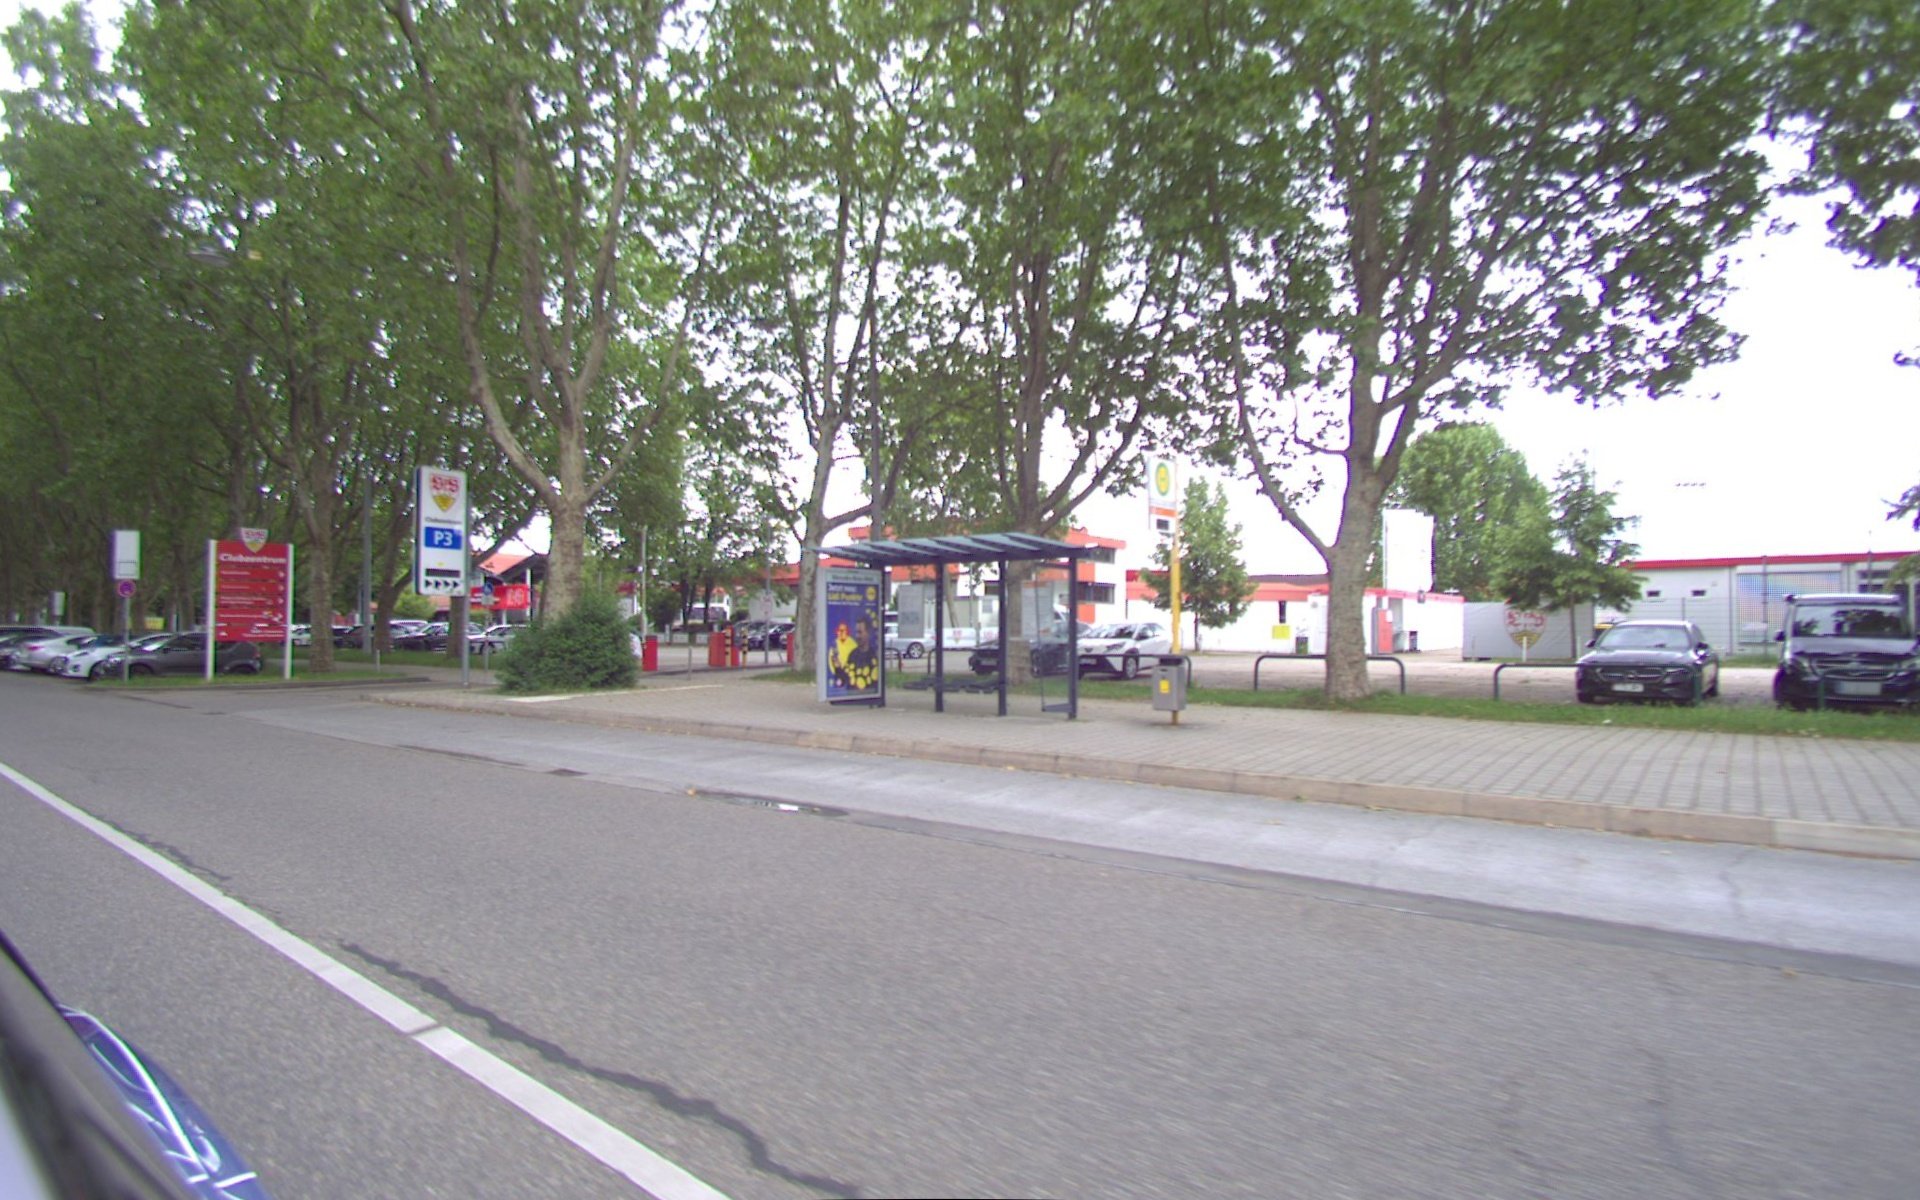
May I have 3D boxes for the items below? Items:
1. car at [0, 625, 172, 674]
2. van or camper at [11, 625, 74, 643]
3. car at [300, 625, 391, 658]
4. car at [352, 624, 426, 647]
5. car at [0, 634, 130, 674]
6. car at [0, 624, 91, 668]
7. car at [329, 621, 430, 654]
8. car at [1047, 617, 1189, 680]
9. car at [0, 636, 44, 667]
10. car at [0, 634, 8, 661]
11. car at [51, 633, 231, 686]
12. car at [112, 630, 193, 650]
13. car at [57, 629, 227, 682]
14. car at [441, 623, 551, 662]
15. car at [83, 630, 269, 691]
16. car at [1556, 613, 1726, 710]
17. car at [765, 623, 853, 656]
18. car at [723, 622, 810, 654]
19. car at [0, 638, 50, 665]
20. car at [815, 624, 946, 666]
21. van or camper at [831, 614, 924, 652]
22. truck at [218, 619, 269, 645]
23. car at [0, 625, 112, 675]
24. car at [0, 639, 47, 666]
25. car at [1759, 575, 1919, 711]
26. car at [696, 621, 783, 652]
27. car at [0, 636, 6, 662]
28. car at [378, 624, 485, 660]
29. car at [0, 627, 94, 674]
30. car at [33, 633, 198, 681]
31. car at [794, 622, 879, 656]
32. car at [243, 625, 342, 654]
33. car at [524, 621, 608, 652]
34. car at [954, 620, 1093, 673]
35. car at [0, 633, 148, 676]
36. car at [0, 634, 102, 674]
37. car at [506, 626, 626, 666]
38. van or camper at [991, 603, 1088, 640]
[{"bbox_3d":[-30.359,1.735,35.224,1.905,1.560,4.223,-1,-5,37],"label":"car"},{"bbox_3d":[-110.117,4.032,121.525,2.241,2.115,5.236,-1,-1,37],"label":"van or camper"},{"bbox_3d":[-36.986,2.452,60.956,2.026,1.875,4.279,-1,-1,38],"label":"car"},{"bbox_3d":[-46.825,2.864,83.102,2.179,1.810,4.896,-1,-1,37],"label":"car"},{"bbox_3d":[-34.360,2.022,38.372,1.964,1.364,4.150,-1,-1,37],"label":"car"},{"bbox_3d":[-40.053,1.955,43.067,1.863,1.824,4.279,-2,-4,35],"label":"car"},{"bbox_3d":[-32.972,2.100,57.567,2.293,1.739,4.508,-1,-1,38],"label":"car"},{"bbox_3d":[4.260,1.229,26.894,2.000,1.534,3.947,-1,-1,39],"label":"car"},{"bbox_3d":[-46.052,2.417,47.802,1.755,1.432,3.935,-2,-5,42],"label":"car"},{"bbox_3d":[-55.550,2.574,55.635,1.701,1.493,4.420,-2,-4,38],"label":"car"},{"bbox_3d":[-24.467,1.740,30.319,1.911,1.395,3.950,-1,-1,43],"label":"car"},{"bbox_3d":[-71.242,3.494,89.343,2.092,1.608,5.297,-1,-1,38],"label":"car"},{"bbox_3d":[-26.069,1.724,32.362,1.830,1.505,3.954,-1,-1,39],"label":"car"},{"bbox_3d":[-22.015,1.973,48.141,2.129,1.722,4.279,-1,-1,38],"label":"car"},{"bbox_3d":[-22.406,1.674,29.037,1.804,1.552,3.952,-1,-1,41],"label":"car"},{"bbox_3d":[12.987,1.042,19.168,2.108,1.579,4.577,0,-1,41],"label":"car"},{"bbox_3d":[-7.657,1.963,51.558,1.956,1.560,4.279,-1,-1,38],"label":"car"},{"bbox_3d":[-10.026,1.959,52.652,1.956,1.560,4.279,-1,-1,38],"label":"car"},{"bbox_3d":[-49.212,2.618,51.244,1.900,1.358,4.417,-2,-4,41],"label":"car"},{"bbox_3d":[-3.218,1.780,41.145,4.891,1.564,2.107,0,-1,-24],"label":"car"},{"bbox_3d":[-3.936,1.537,48.677,2.129,1.722,4.279,-1,-1,38],"label":"van or camper"},{"bbox_3d":[-77.003,3.396,108.812,2.373,2.737,3.949,-1,-1,38],"label":"truck"},{"bbox_3d":[-35.014,1.911,38.220,1.866,1.824,4.274,-2,-4,39],"label":"car"},{"bbox_3d":[-51.034,2.728,53.043,1.857,1.377,4.420,-2,-5,38],"label":"car"},{"bbox_3d":[15.362,0.679,17.408,2.262,2.041,4.567,-1,-1,41],"label":"car"},{"bbox_3d":[-11.768,1.924,54.191,1.956,1.560,4.279,-1,-1,38],"label":"car"},{"bbox_3d":[-53.704,2.576,53.960,1.701,1.409,3.893,-2,-4,38],"label":"car"},{"bbox_3d":[-27.672,2.173,53.070,2.293,1.775,4.475,-1,-1,38],"label":"car"},{"bbox_3d":[-38.291,2.031,41.245,2.035,1.809,4.274,-1,-1,39],"label":"car"},{"bbox_3d":[-28.057,1.853,33.709,1.860,1.416,3.947,-1,-1,39],"label":"car"},{"bbox_3d":[-6.037,1.874,49.894,1.787,1.560,4.177,-1,-1,38],"label":"car"},{"bbox_3d":[-42.963,2.544,65.217,2.179,1.810,4.896,-2,-2,37],"label":"car"},{"bbox_3d":[-25.479,2.324,65.510,2.297,1.869,4.527,-1,-1,44],"label":"car"},{"bbox_3d":[1.839,1.244,28.243,1.999,1.334,3.948,-1,-1,38],"label":"car"},{"bbox_3d":[-32.353,1.935,36.918,1.883,1.415,3.949,-1,-1,38],"label":"car"},{"bbox_3d":[-36.471,2.118,39.613,2.012,1.463,4.085,-2,-5,41],"label":"car"},{"bbox_3d":[-16.725,1.906,43.116,2.201,1.560,4.279,-1,-1,38],"label":"car"},{"bbox_3d":[4.475,1.207,57.279,5.296,2.029,1.974,-1,-1,39],"label":"van or camper"}]
